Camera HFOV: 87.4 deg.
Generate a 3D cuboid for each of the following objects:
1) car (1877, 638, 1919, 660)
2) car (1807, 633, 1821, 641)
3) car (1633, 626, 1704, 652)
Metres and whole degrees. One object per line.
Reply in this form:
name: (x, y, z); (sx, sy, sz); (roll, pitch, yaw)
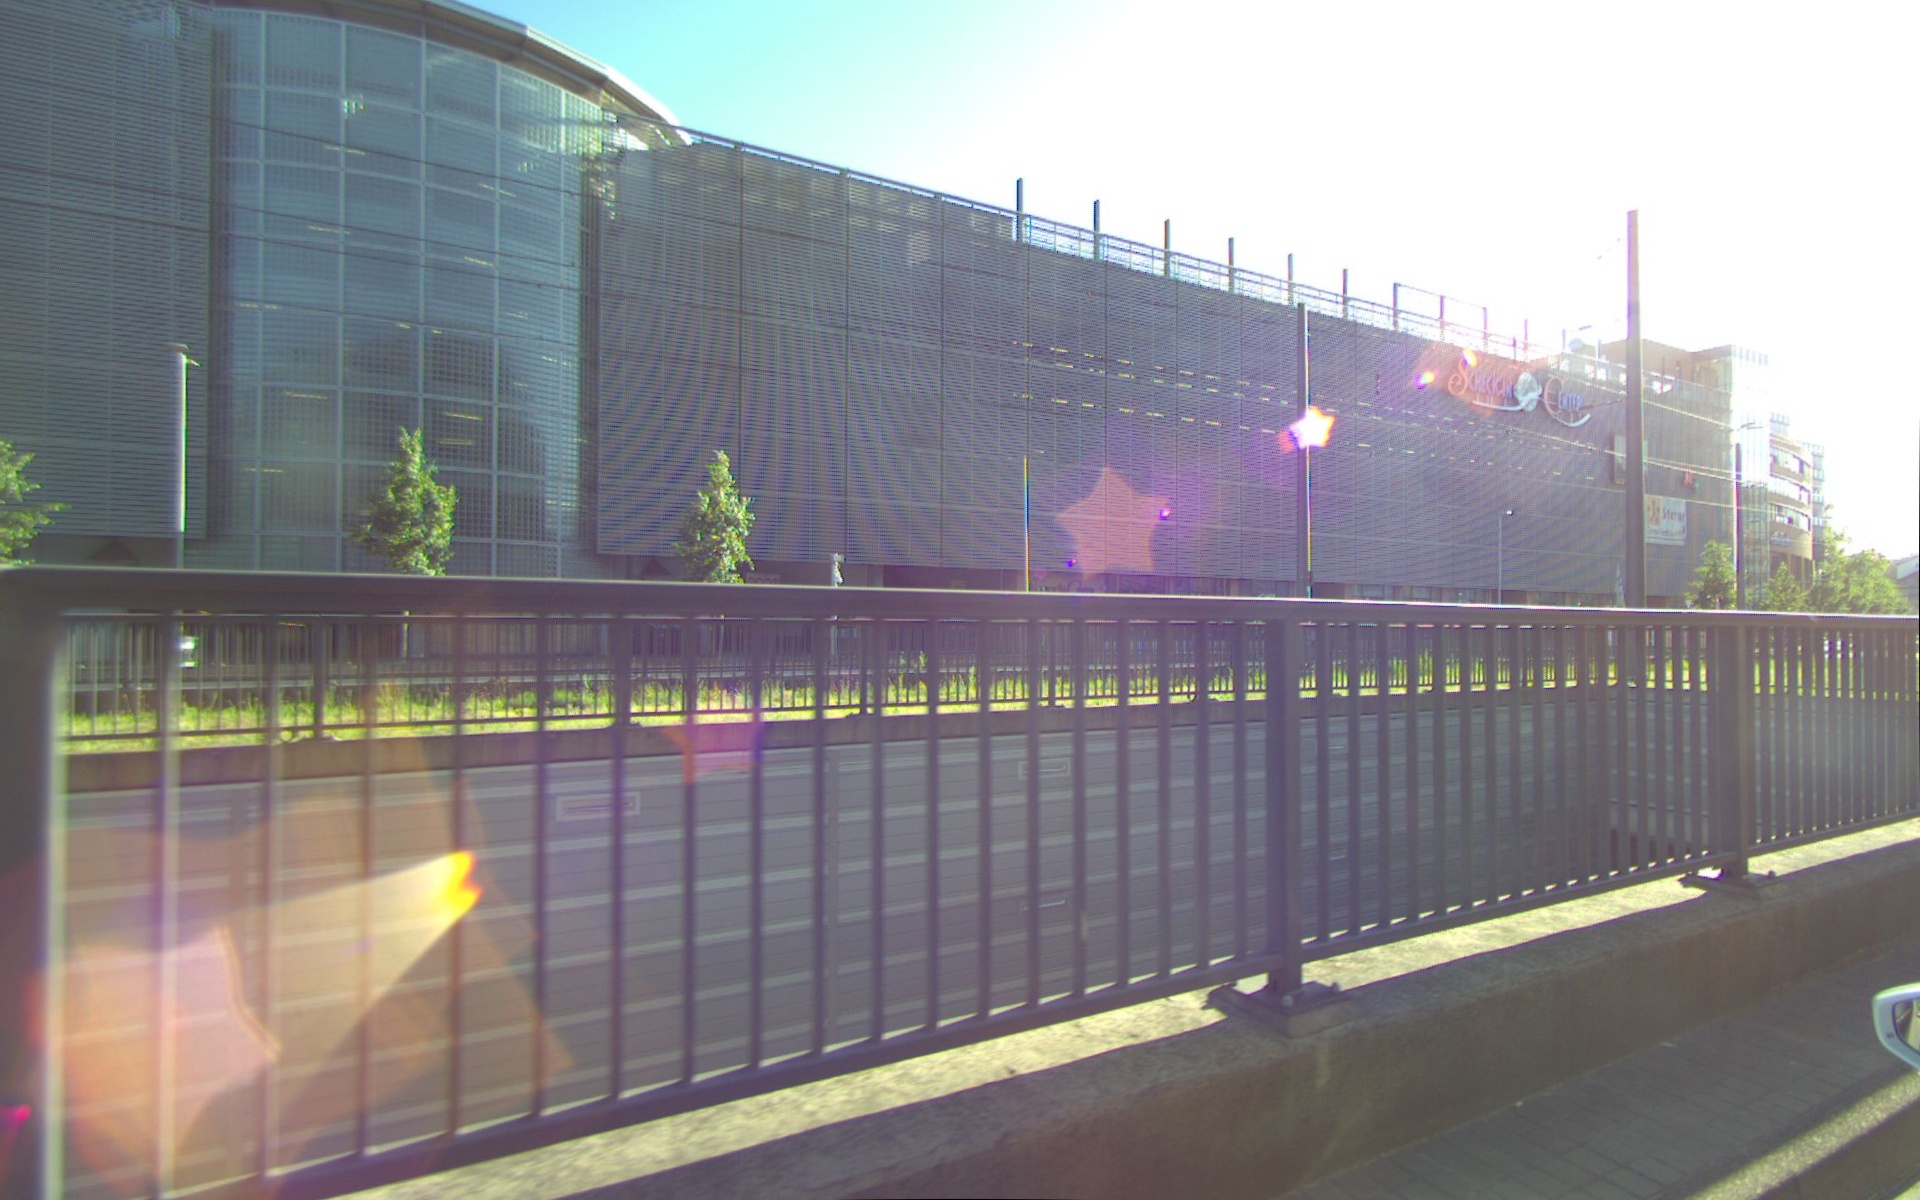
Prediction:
car: (71.642, 3.697, 75.759); (4.464, 1.566, 1.990); (1, -1, -22)
car: (166.355, 7.167, 195.701); (1.627, 1.609, 3.350); (0, -2, 33)
car: (43.435, 2.407, 61.554); (4.192, 1.520, 1.985); (1, -1, -29)
